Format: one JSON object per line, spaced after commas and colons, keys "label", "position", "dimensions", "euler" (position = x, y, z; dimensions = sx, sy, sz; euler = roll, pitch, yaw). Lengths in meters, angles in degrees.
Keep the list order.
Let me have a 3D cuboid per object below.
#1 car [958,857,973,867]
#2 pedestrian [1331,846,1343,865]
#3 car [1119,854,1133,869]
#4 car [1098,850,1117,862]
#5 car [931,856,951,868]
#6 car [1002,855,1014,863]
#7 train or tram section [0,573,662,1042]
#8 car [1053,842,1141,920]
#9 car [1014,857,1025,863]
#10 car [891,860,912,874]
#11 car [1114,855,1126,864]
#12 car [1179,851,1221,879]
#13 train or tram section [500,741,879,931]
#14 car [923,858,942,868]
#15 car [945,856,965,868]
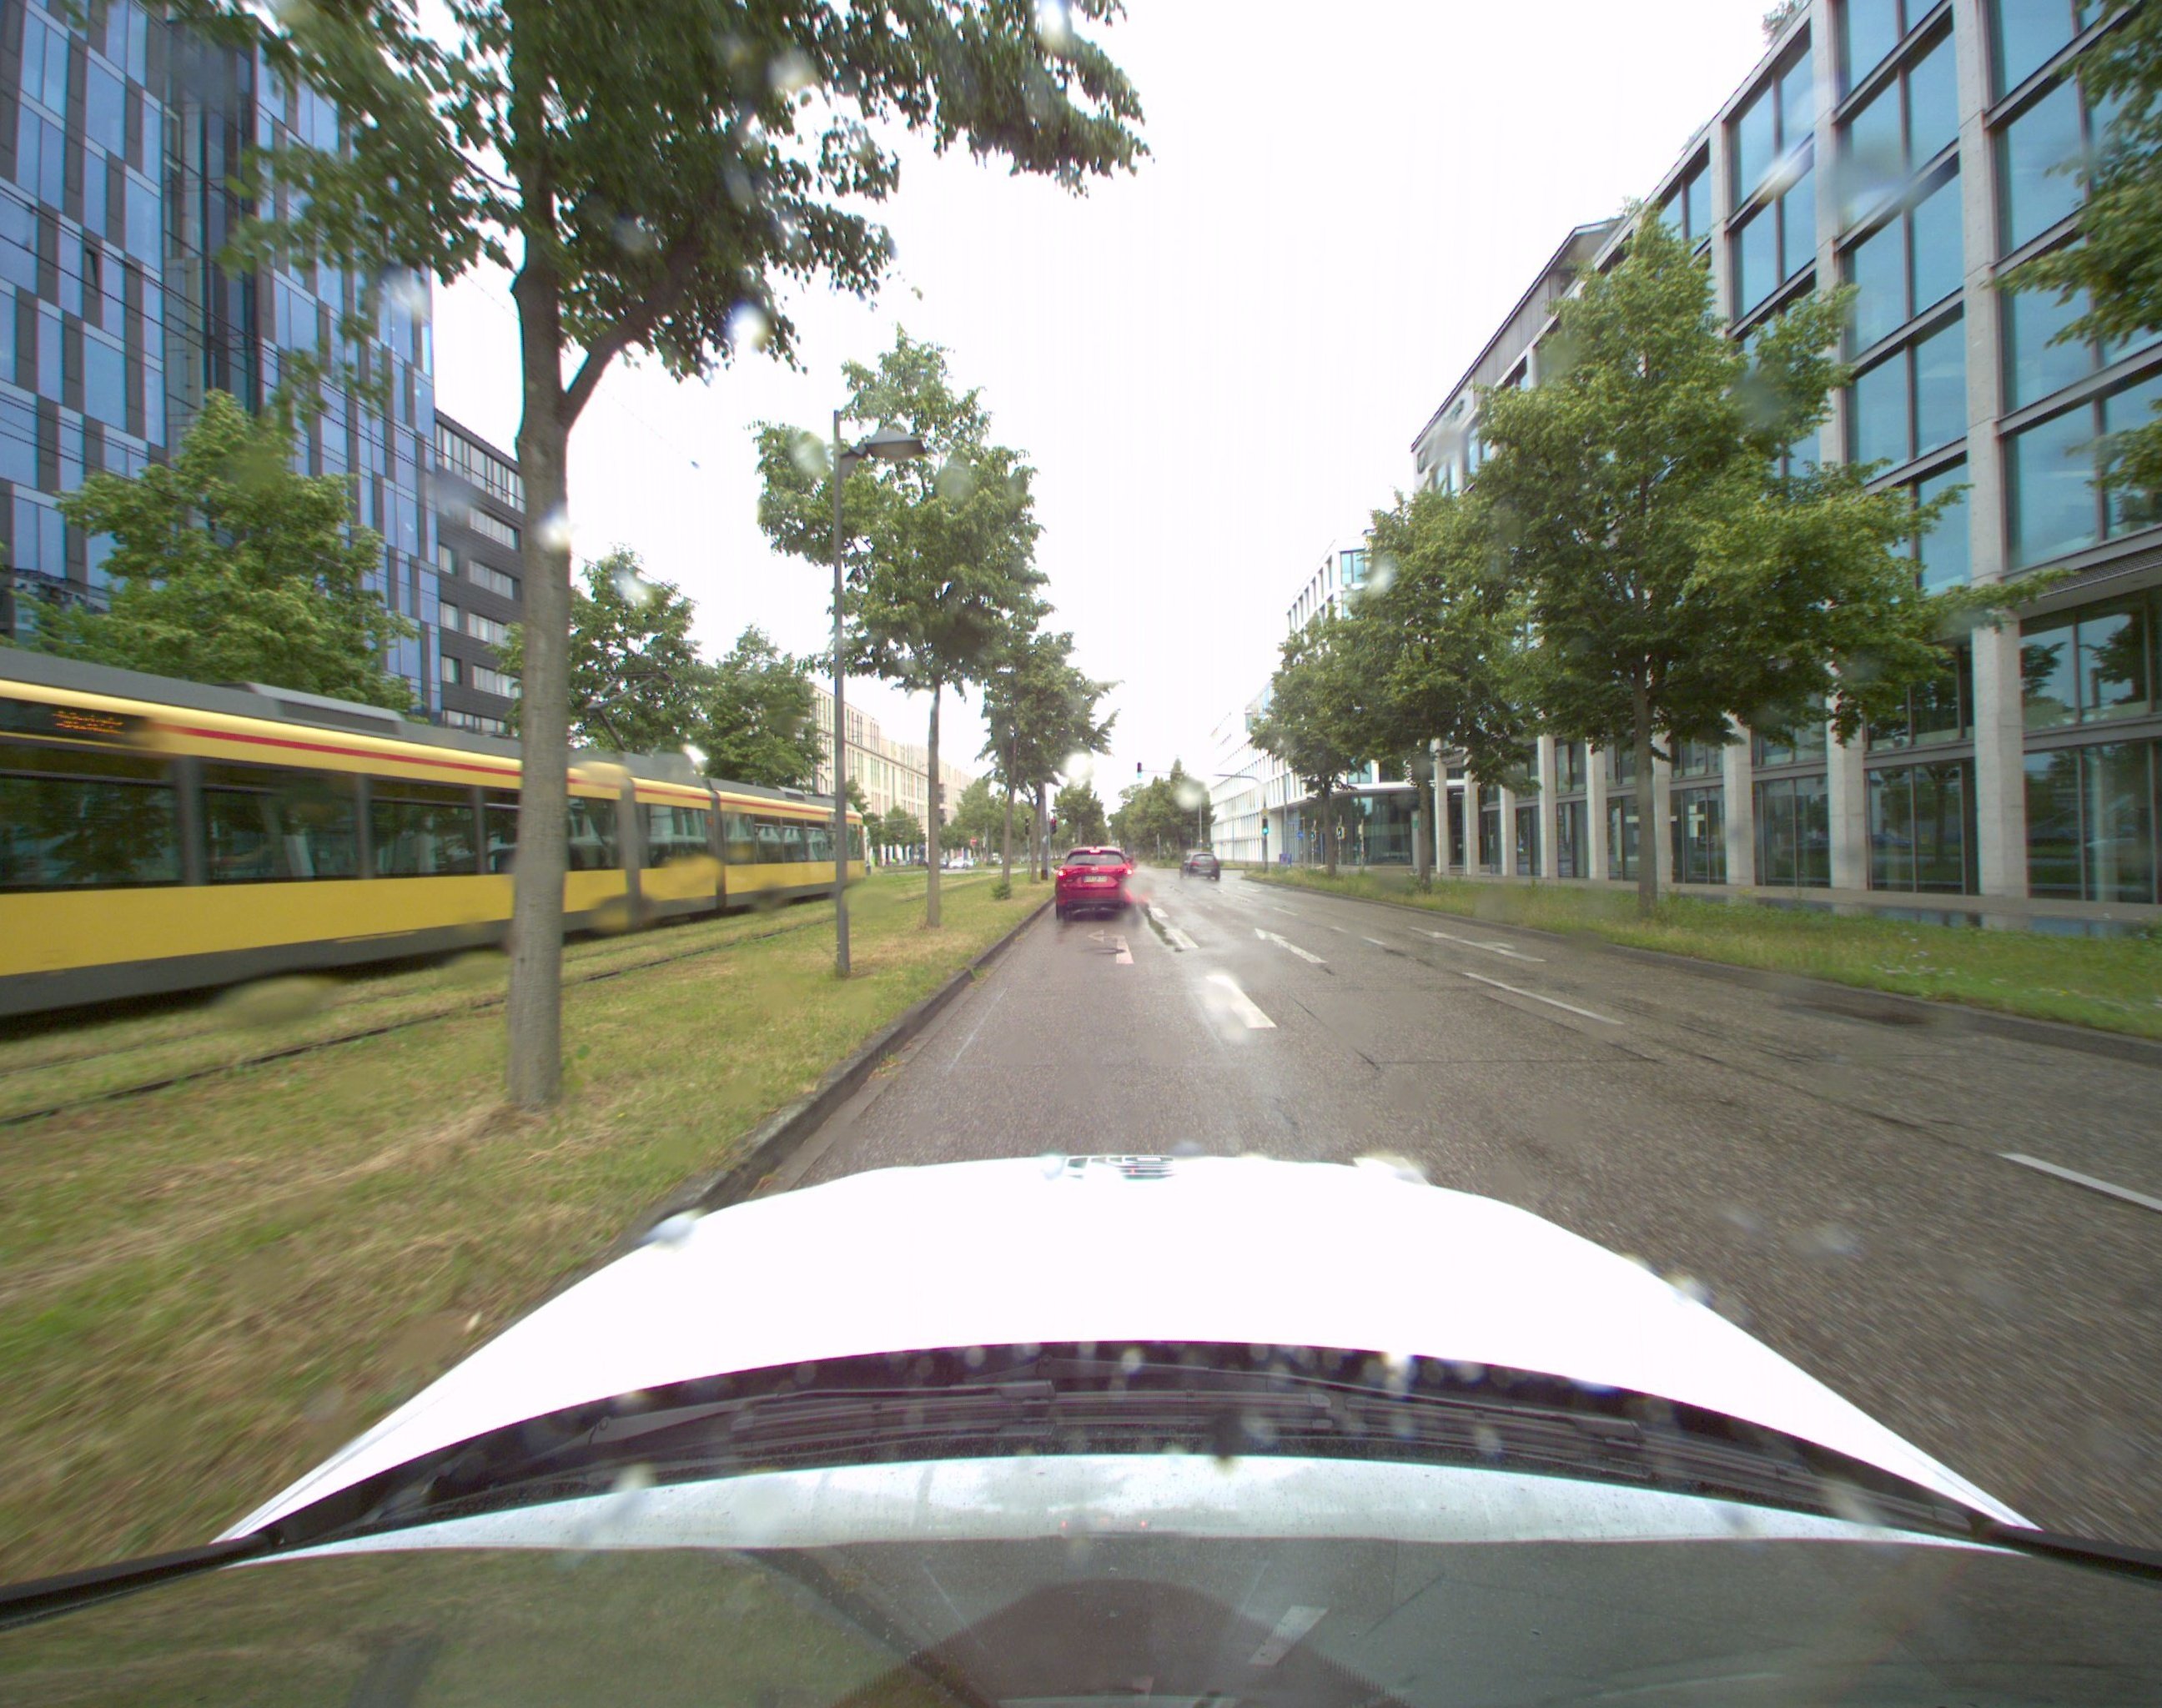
{"label": "car", "position": [-18.970, 1.295, 134.164], "dimensions": [1.989, 1.484, 4.440], "euler": [-1, 0, -3]}
{"label": "pedestrian", "position": [23.457, 0.161, 74.604], "dimensions": [0.774, 1.707, 0.684], "euler": [-1, 0, 39]}
{"label": "car", "position": [6.683, 1.085, 120.977], "dimensions": [1.986, 2.013, 4.002], "euler": [-1, 0, 2]}
{"label": "car", "position": [3.246, 0.186, 100.820], "dimensions": [1.962, 1.437, 4.548], "euler": [0, 0, -2]}
{"label": "car", "position": [-19.330, 1.084, 112.773], "dimensions": [1.987, 1.618, 4.000], "euler": [-1, 0, 0]}
{"label": "car", "position": [-13.903, 1.023, 154.996], "dimensions": [1.988, 1.484, 4.443], "euler": [-1, 0, -1]}
{"label": "train or tram section", "position": [-9.909, -0.355, 9.115], "dimensions": [3.117, 3.659, 13.411], "euler": [-1, 0, 2]}
{"label": "car", "position": [0.383, 0.582, 19.703], "dimensions": [1.891, 1.677, 4.001], "euler": [-1, 0, 1]}
{"label": "car", "position": [-14.515, 1.445, 191.851], "dimensions": [1.986, 1.484, 4.448], "euler": [-1, 0, 2]}
{"label": "car", "position": [-24.719, 1.801, 112.394], "dimensions": [1.986, 1.838, 4.001], "euler": [-1, 0, 1]}
{"label": "car", "position": [6.857, 0.932, 141.725], "dimensions": [1.986, 1.531, 4.002], "euler": [-1, 0, 2]}
{"label": "car", "position": [6.434, 0.566, 44.393], "dimensions": [1.738, 1.465, 3.780], "euler": [-1, 0, -1]}
{"label": "train or tram section", "position": [-9.477, -0.376, 23.346], "dimensions": [3.117, 3.659, 15.070], "euler": [-1, 0, 2]}
{"label": "car", "position": [-22.010, 1.338, 120.844], "dimensions": [1.988, 1.484, 4.443], "euler": [-1, 0, -2]}
{"label": "car", "position": [-16.706, 1.084, 108.085], "dimensions": [1.988, 1.484, 4.442], "euler": [-1, 0, -2]}
